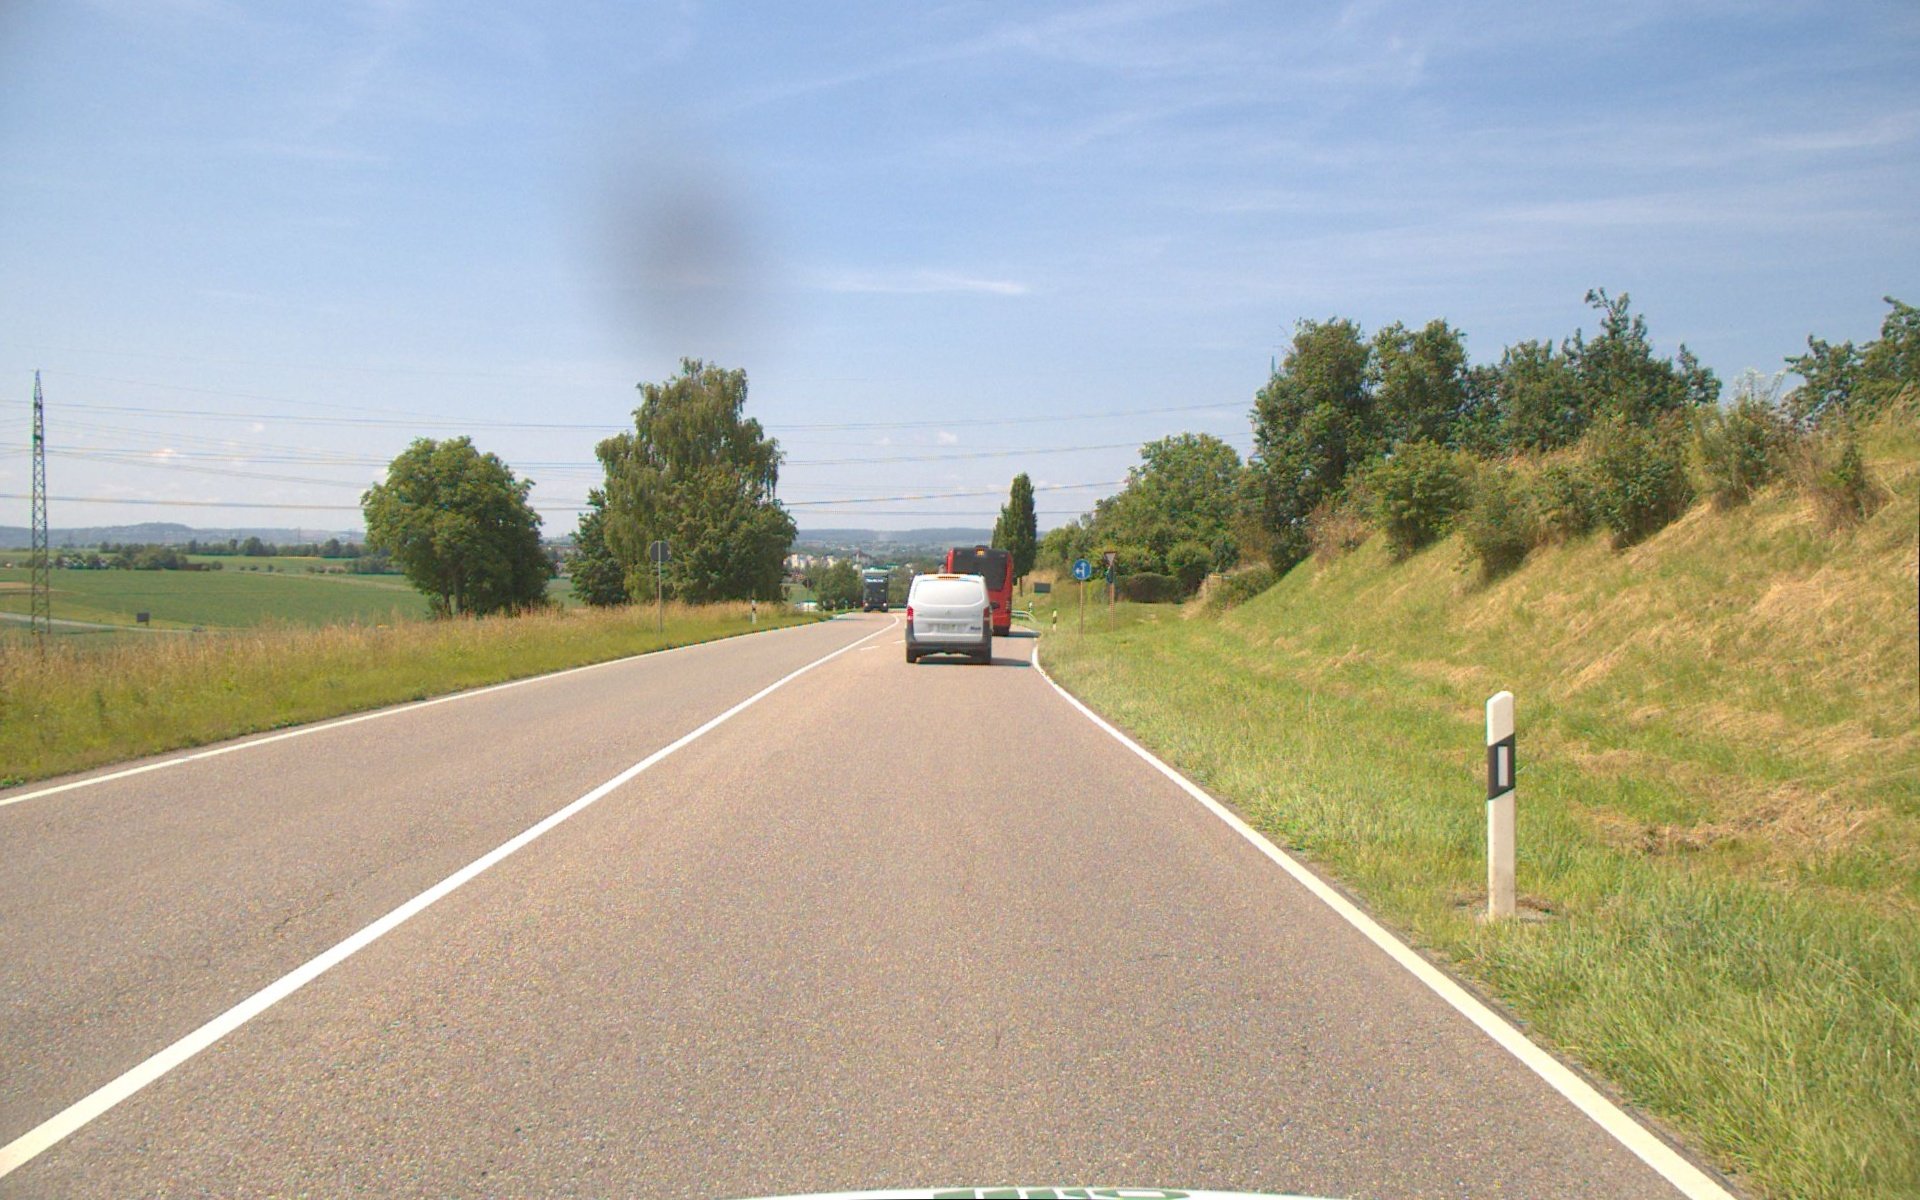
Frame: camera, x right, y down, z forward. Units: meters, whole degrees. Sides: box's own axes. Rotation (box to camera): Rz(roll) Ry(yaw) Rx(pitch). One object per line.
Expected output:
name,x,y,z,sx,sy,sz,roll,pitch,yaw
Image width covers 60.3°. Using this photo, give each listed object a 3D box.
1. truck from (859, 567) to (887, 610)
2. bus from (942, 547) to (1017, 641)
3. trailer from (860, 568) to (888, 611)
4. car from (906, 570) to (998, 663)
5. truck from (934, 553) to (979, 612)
truck,-8.625,-1.084,164.141,2.533,4.176,5.440,1,0,-2
bus,0.657,-0.433,67.890,2.691,3.411,13.222,-2,2,-1
trailer,-8.841,-1.082,171.146,2.540,4.215,13.736,1,0,-2
car,-0.183,0.325,36.625,1.884,1.922,4.000,-1,0,-1
truck,-0.322,-1.403,134.572,3.417,4.500,14.900,-1,0,-1
